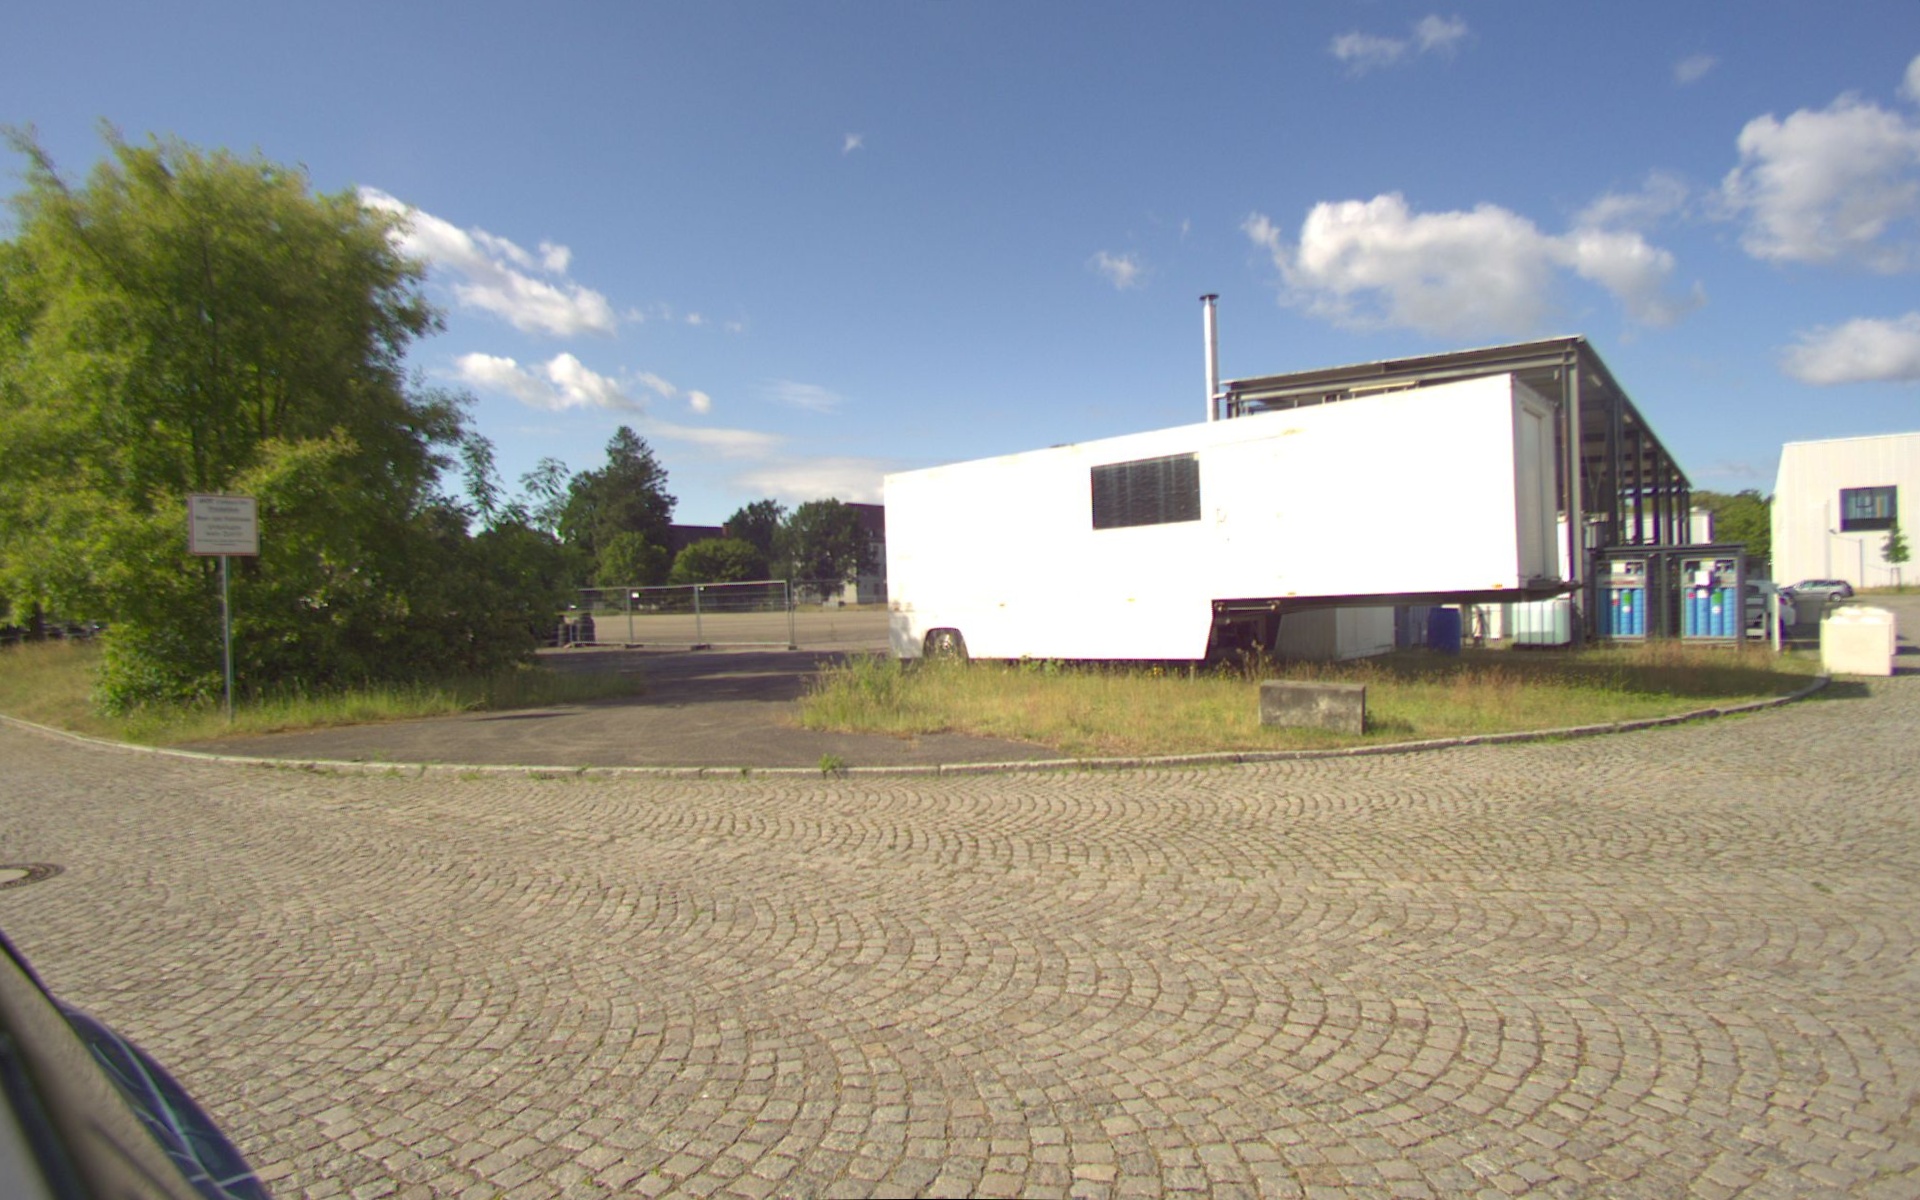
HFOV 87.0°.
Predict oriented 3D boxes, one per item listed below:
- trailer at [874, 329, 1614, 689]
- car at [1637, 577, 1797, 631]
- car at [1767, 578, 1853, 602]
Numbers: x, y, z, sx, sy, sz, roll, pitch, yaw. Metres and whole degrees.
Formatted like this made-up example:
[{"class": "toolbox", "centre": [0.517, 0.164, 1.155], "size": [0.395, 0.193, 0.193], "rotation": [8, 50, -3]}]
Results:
[{"class": "trailer", "centre": [3.469, -0.893, 15.699], "size": [10.880, 3.940, 2.743], "rotation": [-2, 0, 41]}, {"class": "car", "centre": [21.173, 0.128, 28.460], "size": [3.466, 1.386, 1.592], "rotation": [-2, -1, 36]}, {"class": "car", "centre": [55.875, -0.667, 66.626], "size": [4.182, 1.414, 1.719], "rotation": [-2, -1, 38]}]
